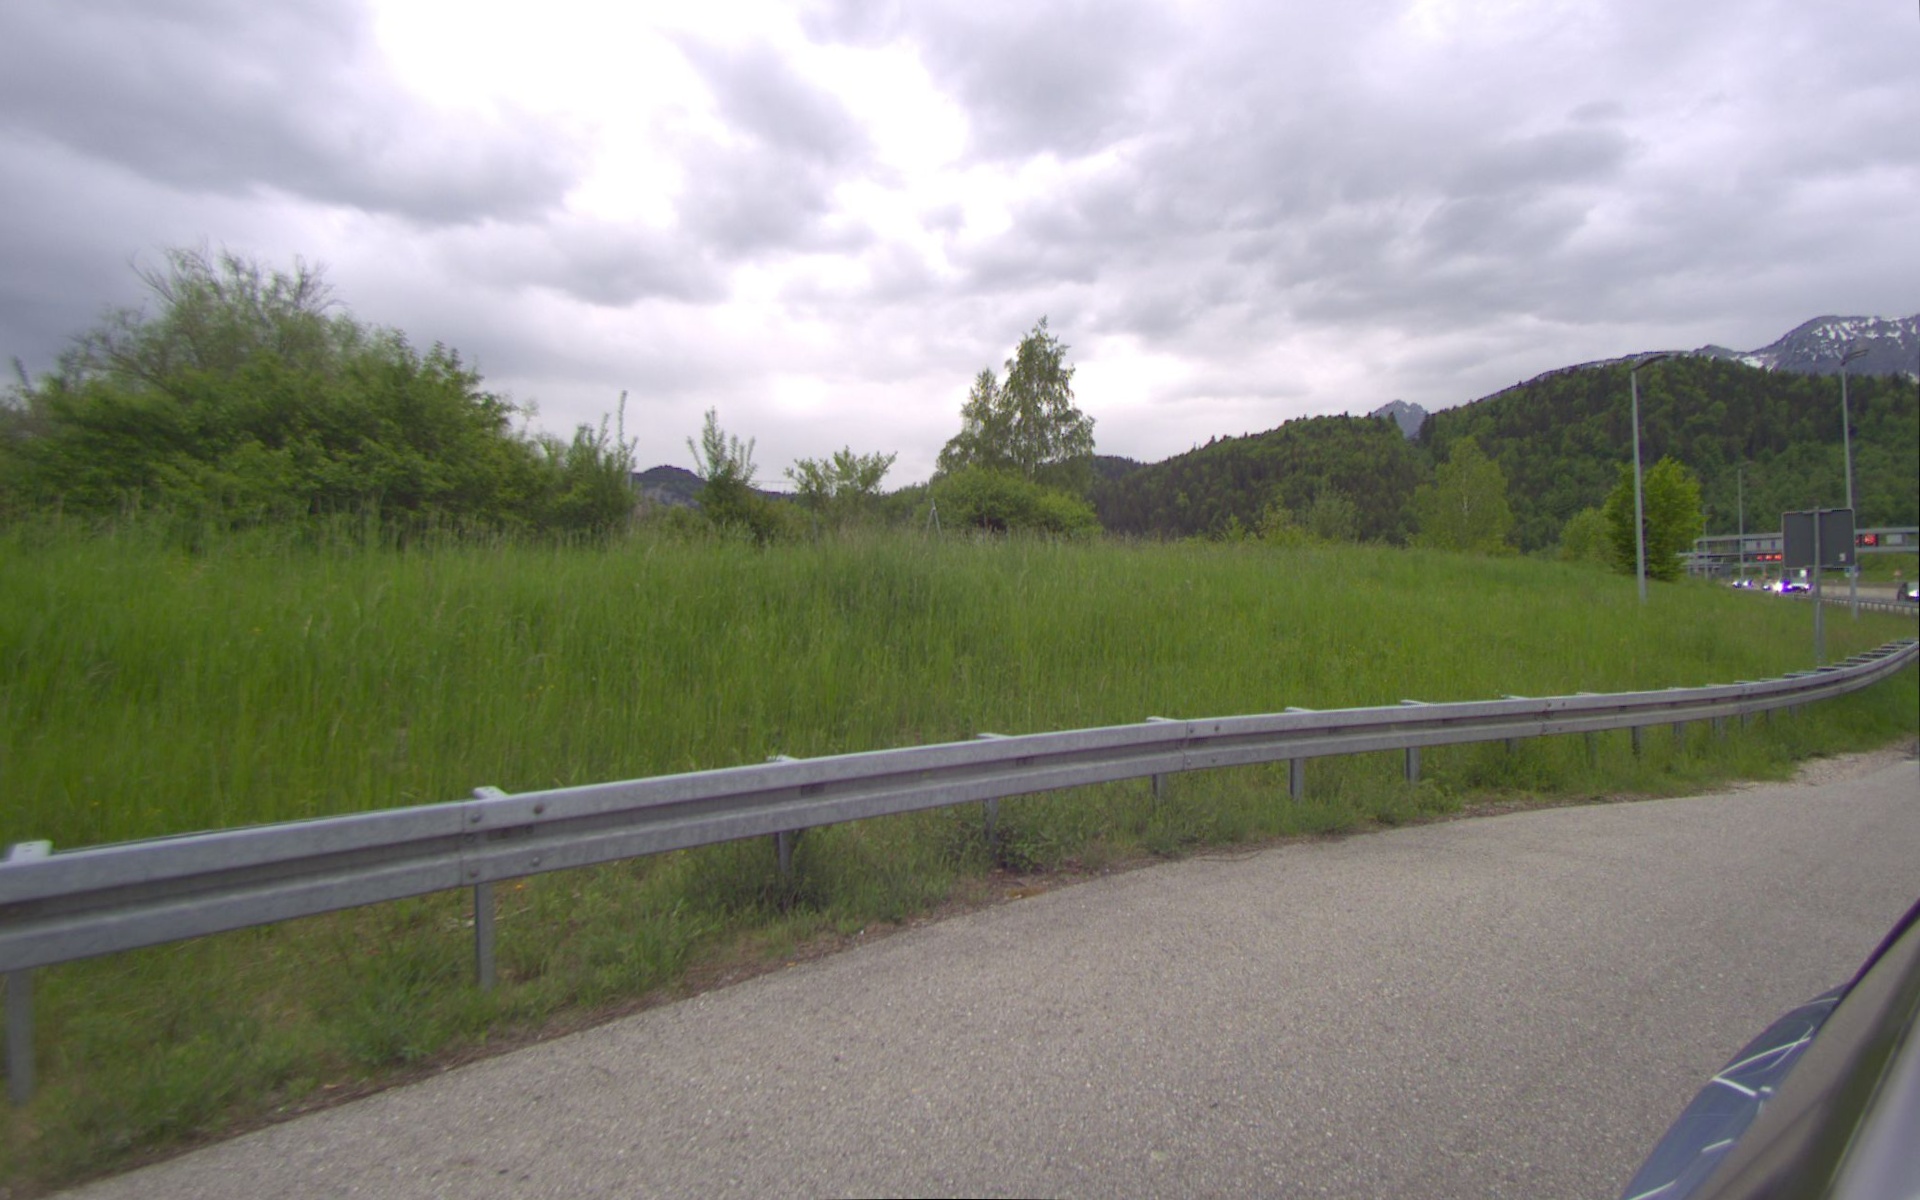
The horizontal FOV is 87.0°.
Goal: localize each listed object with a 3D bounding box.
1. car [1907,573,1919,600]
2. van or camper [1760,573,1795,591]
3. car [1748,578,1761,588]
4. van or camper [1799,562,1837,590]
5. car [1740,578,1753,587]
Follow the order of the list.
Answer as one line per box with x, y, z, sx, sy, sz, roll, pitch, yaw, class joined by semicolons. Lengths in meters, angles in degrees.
65.335;-0.891;68.220;1.757;1.791;3.946;1;1;38;car
121.420;-2.655;150.363;3.322;2.678;8.099;1;1;34;van or camper
150.413;-3.169;191.638;1.858;1.895;3.946;1;1;37;car
106.133;-2.977;125.245;2.565;3.434;7.269;1;1;33;van or camper
149.884;-3.386;192.921;1.710;1.659;4.296;1;1;34;car
